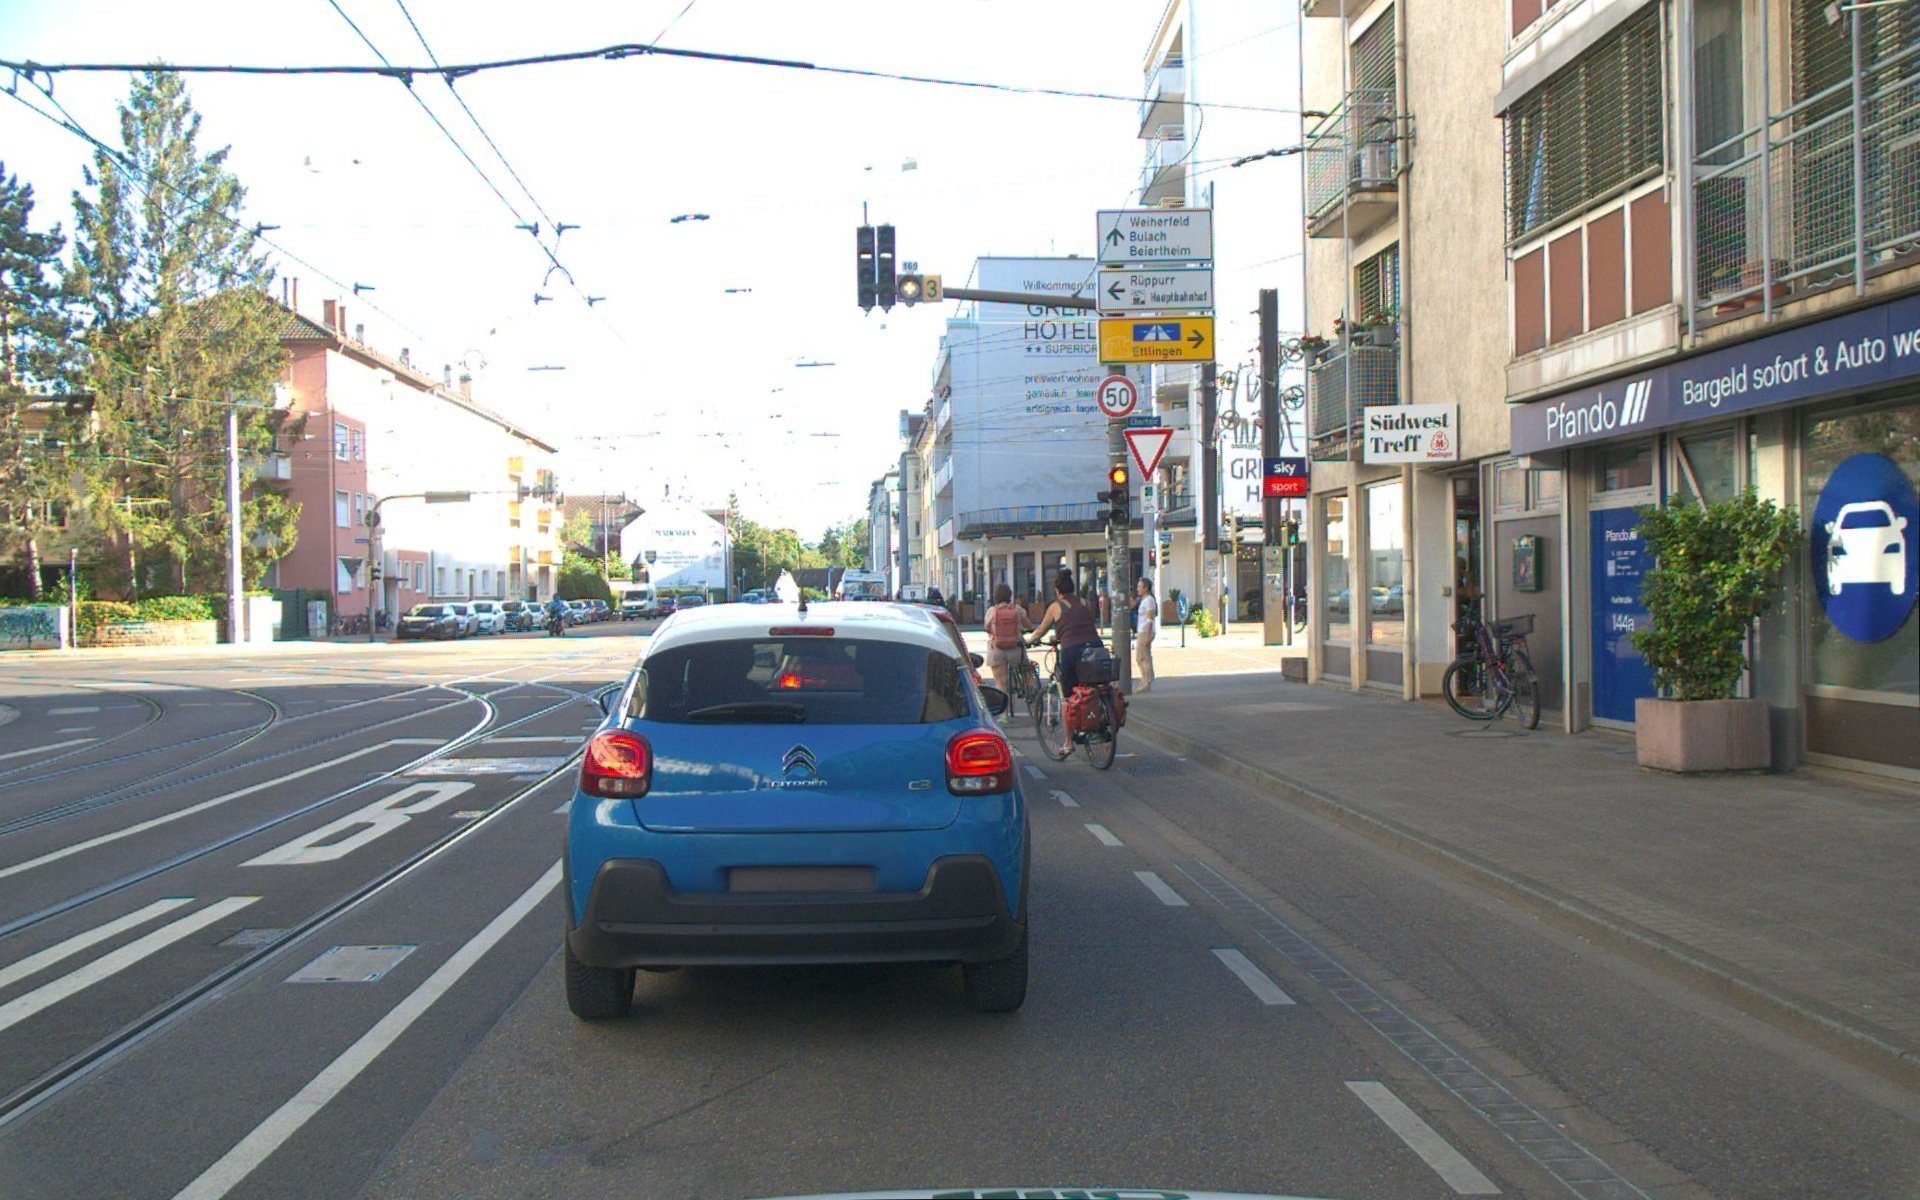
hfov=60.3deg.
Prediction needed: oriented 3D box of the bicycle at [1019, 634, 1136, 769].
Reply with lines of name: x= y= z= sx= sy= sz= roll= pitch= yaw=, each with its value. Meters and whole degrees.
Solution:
bicycle: x=1.063 y=0.907 z=15.431 sx=0.606 sy=1.123 sz=1.881 roll=-1 pitch=0 yaw=-11

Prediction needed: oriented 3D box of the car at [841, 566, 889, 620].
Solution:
car: x=-4.234 y=-0.323 z=73.182 sx=2.039 sy=2.309 sz=5.646 roll=0 pitch=0 yaw=-4

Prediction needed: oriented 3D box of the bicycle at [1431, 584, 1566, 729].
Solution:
bicycle: x=5.109 y=0.503 z=15.823 sx=0.627 sy=1.286 sz=1.910 roll=-1 pitch=0 yaw=-1

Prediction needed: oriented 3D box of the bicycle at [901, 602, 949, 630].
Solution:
bicycle: x=-1.396 y=0.635 z=65.784 sx=1.868 sy=1.083 sz=0.641 roll=-1 pitch=0 yaw=-8

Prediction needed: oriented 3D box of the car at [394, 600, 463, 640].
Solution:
car: x=-22.018 y=0.789 z=68.655 sx=1.913 sy=1.545 sz=3.995 roll=-1 pitch=0 yaw=-6

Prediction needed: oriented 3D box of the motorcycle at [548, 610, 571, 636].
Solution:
motorcycle: x=-16.229 y=0.937 z=67.025 sx=0.738 sy=0.993 sz=2.092 roll=-1 pitch=0 yaw=-9

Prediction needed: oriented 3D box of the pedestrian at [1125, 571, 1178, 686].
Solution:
pedestrian: x=2.822 y=0.410 z=24.412 sx=0.735 sy=1.663 sz=0.740 roll=-1 pitch=0 yaw=5

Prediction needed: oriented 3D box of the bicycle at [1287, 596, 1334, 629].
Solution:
bicycle: x=12.062 y=0.431 z=56.962 sx=1.464 sy=1.110 sz=0.603 roll=-1 pitch=0 yaw=37

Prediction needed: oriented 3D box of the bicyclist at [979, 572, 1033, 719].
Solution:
bicyclist: x=0.564 y=0.550 z=20.600 sx=0.588 sy=1.776 sz=1.084 roll=-1 pitch=0 yaw=-1

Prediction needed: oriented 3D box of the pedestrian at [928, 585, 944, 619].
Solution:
pedestrian: x=-1.013 y=0.084 z=70.242 sx=0.514 sy=1.445 sz=0.547 roll=-1 pitch=0 yaw=19

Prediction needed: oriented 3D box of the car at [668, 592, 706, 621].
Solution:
car: x=-16.135 y=0.347 z=97.973 sx=1.967 sy=1.656 sz=5.045 roll=-1 pitch=0 yaw=-7

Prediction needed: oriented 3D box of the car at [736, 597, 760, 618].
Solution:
car: x=-21.813 y=0.799 z=170.497 sx=2.293 sy=2.074 sz=5.044 roll=-1 pitch=0 yaw=-6

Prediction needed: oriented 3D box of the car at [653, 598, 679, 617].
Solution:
car: x=-25.576 y=0.637 z=144.170 sx=1.913 sy=1.545 sz=3.995 roll=-1 pitch=0 yaw=-6

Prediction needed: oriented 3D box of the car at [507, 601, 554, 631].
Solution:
car: x=-23.766 y=0.852 z=91.572 sx=1.913 sy=1.545 sz=3.995 roll=-1 pitch=0 yaw=-6

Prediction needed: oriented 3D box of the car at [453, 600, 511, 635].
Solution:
car: x=-22.759 y=0.818 z=78.866 sx=1.913 sy=1.545 sz=3.995 roll=-1 pitch=0 yaw=-6

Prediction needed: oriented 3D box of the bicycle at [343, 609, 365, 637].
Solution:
bicycle: x=-24.591 y=0.927 z=67.121 sx=0.527 sy=1.101 sz=1.905 roll=-1 pitch=0 yaw=-11

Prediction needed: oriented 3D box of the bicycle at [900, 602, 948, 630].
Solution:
bicycle: x=-1.449 y=0.660 z=67.088 sx=1.868 sy=1.083 sz=0.641 roll=-1 pitch=0 yaw=-8

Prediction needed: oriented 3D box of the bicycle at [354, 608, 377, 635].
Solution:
bicycle: x=-25.877 y=0.926 z=71.991 sx=0.527 sy=1.101 sz=1.908 roll=-1 pitch=0 yaw=-7

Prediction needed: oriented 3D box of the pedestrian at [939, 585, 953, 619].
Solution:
pedestrian: x=-0.588 y=0.079 z=69.997 sx=0.459 sy=1.445 sz=0.525 roll=-1 pitch=0 yaw=-13

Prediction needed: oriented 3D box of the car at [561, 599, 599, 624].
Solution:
car: x=-24.853 y=0.745 z=108.267 sx=1.913 sy=1.545 sz=3.995 roll=-1 pitch=0 yaw=-6

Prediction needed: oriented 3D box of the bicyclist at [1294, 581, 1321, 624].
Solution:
bicyclist: x=11.972 y=0.096 z=57.027 sx=0.715 sy=1.459 sz=0.603 roll=-1 pitch=0 yaw=37

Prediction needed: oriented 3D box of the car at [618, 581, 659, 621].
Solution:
car: x=-23.226 y=0.063 z=119.582 sx=2.446 sy=2.759 sz=5.828 roll=-1 pitch=0 yaw=-7

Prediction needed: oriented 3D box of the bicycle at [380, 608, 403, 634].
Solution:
bicycle: x=-25.675 y=0.939 z=74.697 sx=0.597 sy=1.101 sz=1.908 roll=-1 pitch=0 yaw=-7

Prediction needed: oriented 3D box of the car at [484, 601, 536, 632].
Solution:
car: x=-23.236 y=0.837 z=85.523 sx=1.913 sy=1.545 sz=3.995 roll=-1 pitch=0 yaw=-6

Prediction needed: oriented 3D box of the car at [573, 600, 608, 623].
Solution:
car: x=-25.569 y=0.784 z=114.598 sx=1.913 sy=1.545 sz=3.995 roll=-1 pitch=0 yaw=-6

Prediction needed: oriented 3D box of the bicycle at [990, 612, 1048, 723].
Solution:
bicycle: x=0.717 y=0.812 z=20.640 sx=0.601 sy=1.286 sz=1.910 roll=-1 pitch=0 yaw=-1

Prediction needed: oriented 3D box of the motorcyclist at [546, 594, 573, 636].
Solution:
motorcyclist: x=-16.208 y=0.604 z=66.957 sx=0.973 sy=1.659 sz=0.737 roll=-1 pitch=0 yaw=-10

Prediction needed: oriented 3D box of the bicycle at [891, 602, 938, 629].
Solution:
bicycle: x=-1.863 y=0.637 z=68.275 sx=1.868 sy=1.083 sz=0.641 roll=-1 pitch=0 yaw=-8

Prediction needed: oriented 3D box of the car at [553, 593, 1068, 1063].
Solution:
car: x=-0.616 y=0.730 z=7.354 sx=1.647 sy=1.488 sz=3.997 roll=1 pitch=0 yaw=-4

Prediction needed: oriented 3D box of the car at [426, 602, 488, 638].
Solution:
car: x=-22.557 y=0.874 z=74.260 sx=1.913 sy=1.545 sz=4.040 roll=-1 pitch=0 yaw=-6

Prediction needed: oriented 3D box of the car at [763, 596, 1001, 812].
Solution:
car: x=-0.683 y=0.726 z=13.563 sx=1.647 sy=1.488 sz=3.997 roll=1 pitch=0 yaw=-4

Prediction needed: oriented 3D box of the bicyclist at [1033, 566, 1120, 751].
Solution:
bicyclist: x=1.072 y=0.523 z=15.365 sx=0.606 sy=1.658 sz=0.758 roll=-1 pitch=0 yaw=-11

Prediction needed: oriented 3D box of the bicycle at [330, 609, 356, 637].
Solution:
bicycle: x=-24.985 y=0.917 z=66.996 sx=0.628 sy=1.101 sz=1.905 roll=-1 pitch=0 yaw=-11

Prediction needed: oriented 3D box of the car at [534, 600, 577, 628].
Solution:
car: x=-23.937 y=0.819 z=97.997 sx=1.913 sy=1.545 sz=3.995 roll=-1 pitch=0 yaw=-6

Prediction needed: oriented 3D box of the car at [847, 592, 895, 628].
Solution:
car: x=-3.679 y=0.379 z=67.744 sx=1.752 sy=1.383 sz=3.909 roll=-1 pitch=0 yaw=-6

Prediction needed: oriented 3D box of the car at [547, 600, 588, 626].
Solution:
car: x=-24.411 y=0.804 z=102.994 sx=1.913 sy=1.545 sz=3.995 roll=-1 pitch=0 yaw=-6

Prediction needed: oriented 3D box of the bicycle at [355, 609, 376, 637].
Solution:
bicycle: x=-24.233 y=0.934 z=67.420 sx=0.527 sy=1.101 sz=1.905 roll=-1 pitch=0 yaw=-11
